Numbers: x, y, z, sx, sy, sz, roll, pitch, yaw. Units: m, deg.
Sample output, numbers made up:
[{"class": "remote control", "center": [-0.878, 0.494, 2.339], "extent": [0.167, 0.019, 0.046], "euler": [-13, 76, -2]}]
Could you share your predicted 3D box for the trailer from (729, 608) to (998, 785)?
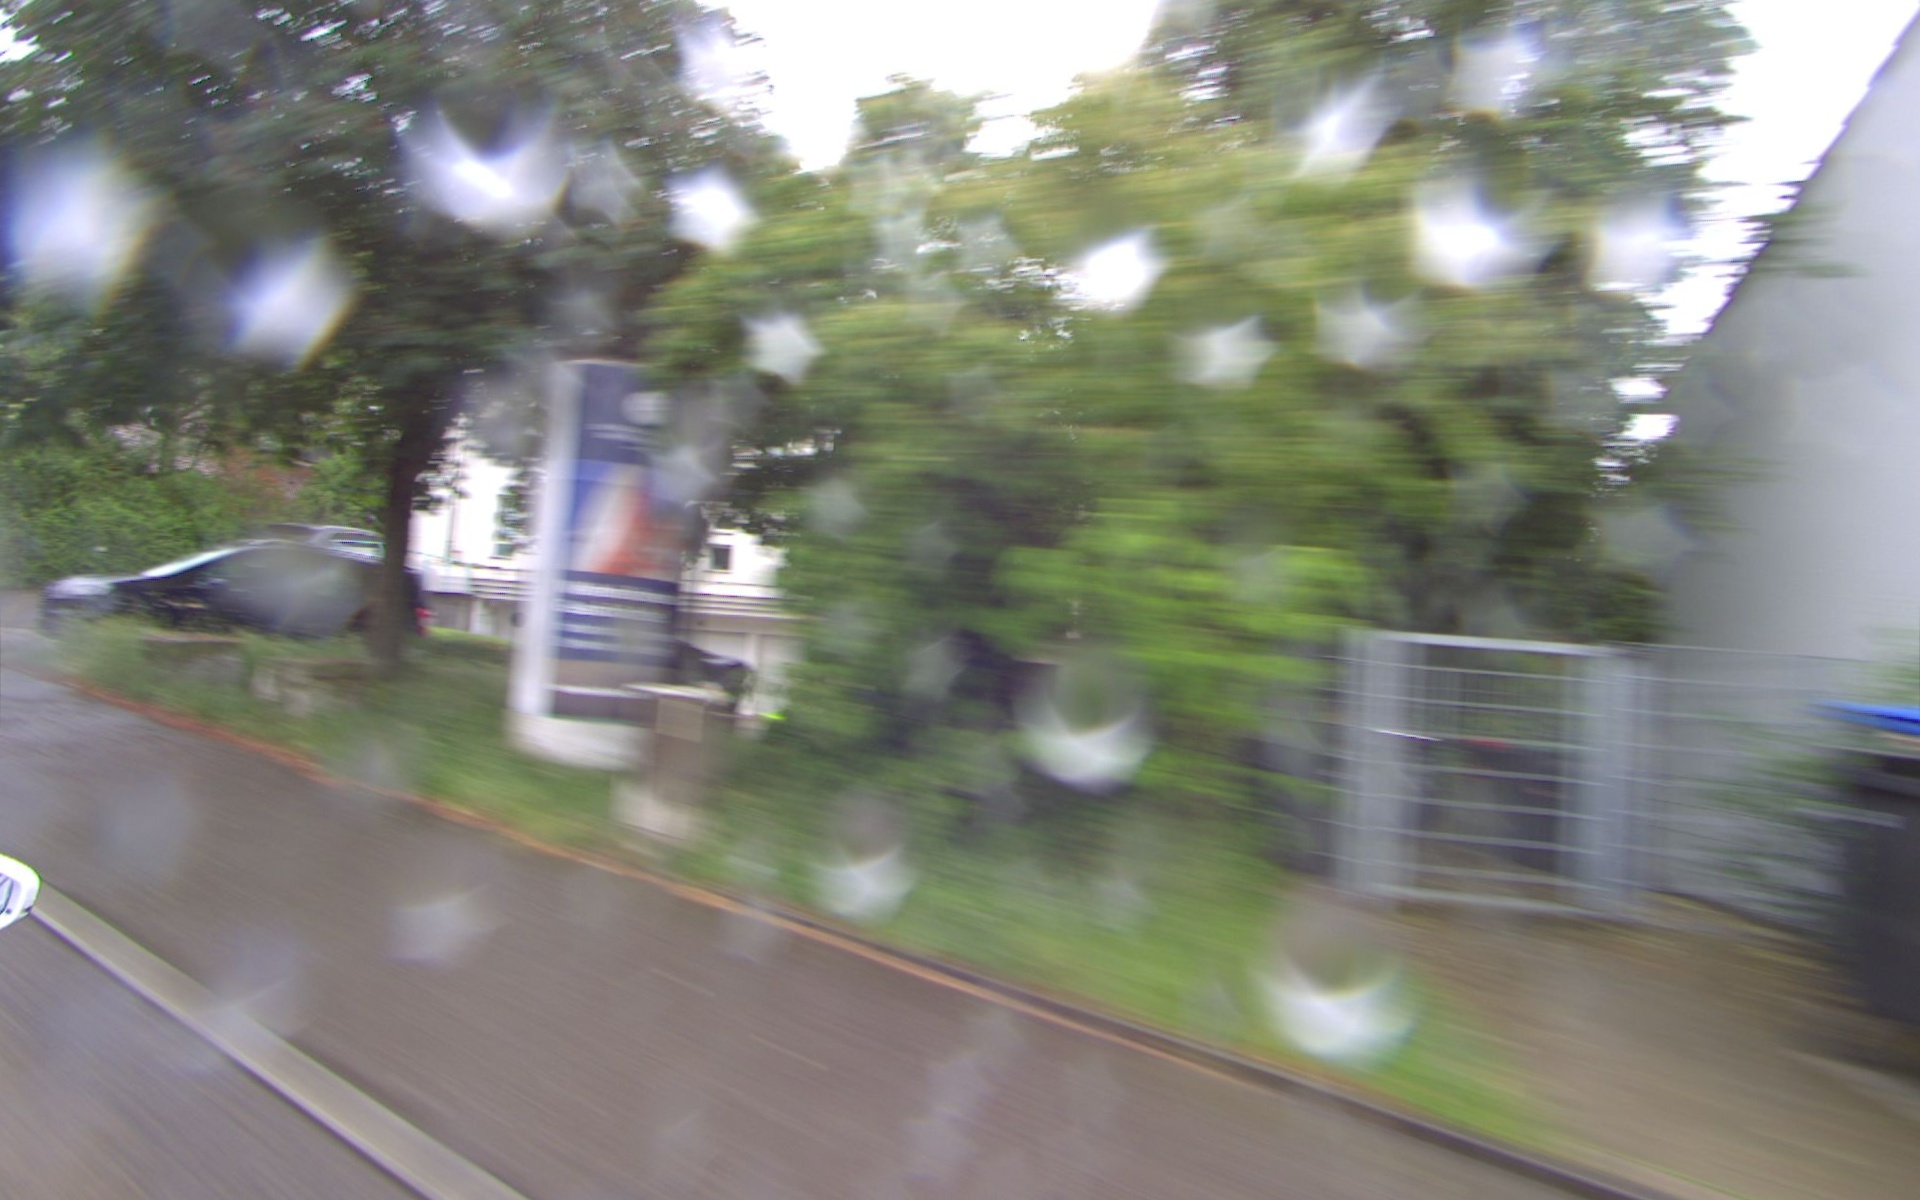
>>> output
[{"class": "trailer", "center": [-1.237, 1.311, 13.939], "extent": [3.220, 1.842, 1.769], "euler": [8, -3, 6]}]

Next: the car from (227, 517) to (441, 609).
[{"class": "car", "center": [-14.142, -0.754, 23.069], "extent": [1.695, 1.653, 4.283], "euler": [4, -2, 8]}]

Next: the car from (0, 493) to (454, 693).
[{"class": "car", "center": [-9.187, 0.049, 12.923], "extent": [1.707, 1.733, 4.330], "euler": [2, -8, 43]}]

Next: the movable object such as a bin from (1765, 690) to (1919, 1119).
[{"class": "movable object such as a bin", "center": [4.019, 1.180, 3.691], "extent": [0.965, 1.515, 1.245], "euler": [7, -1, -2]}]
